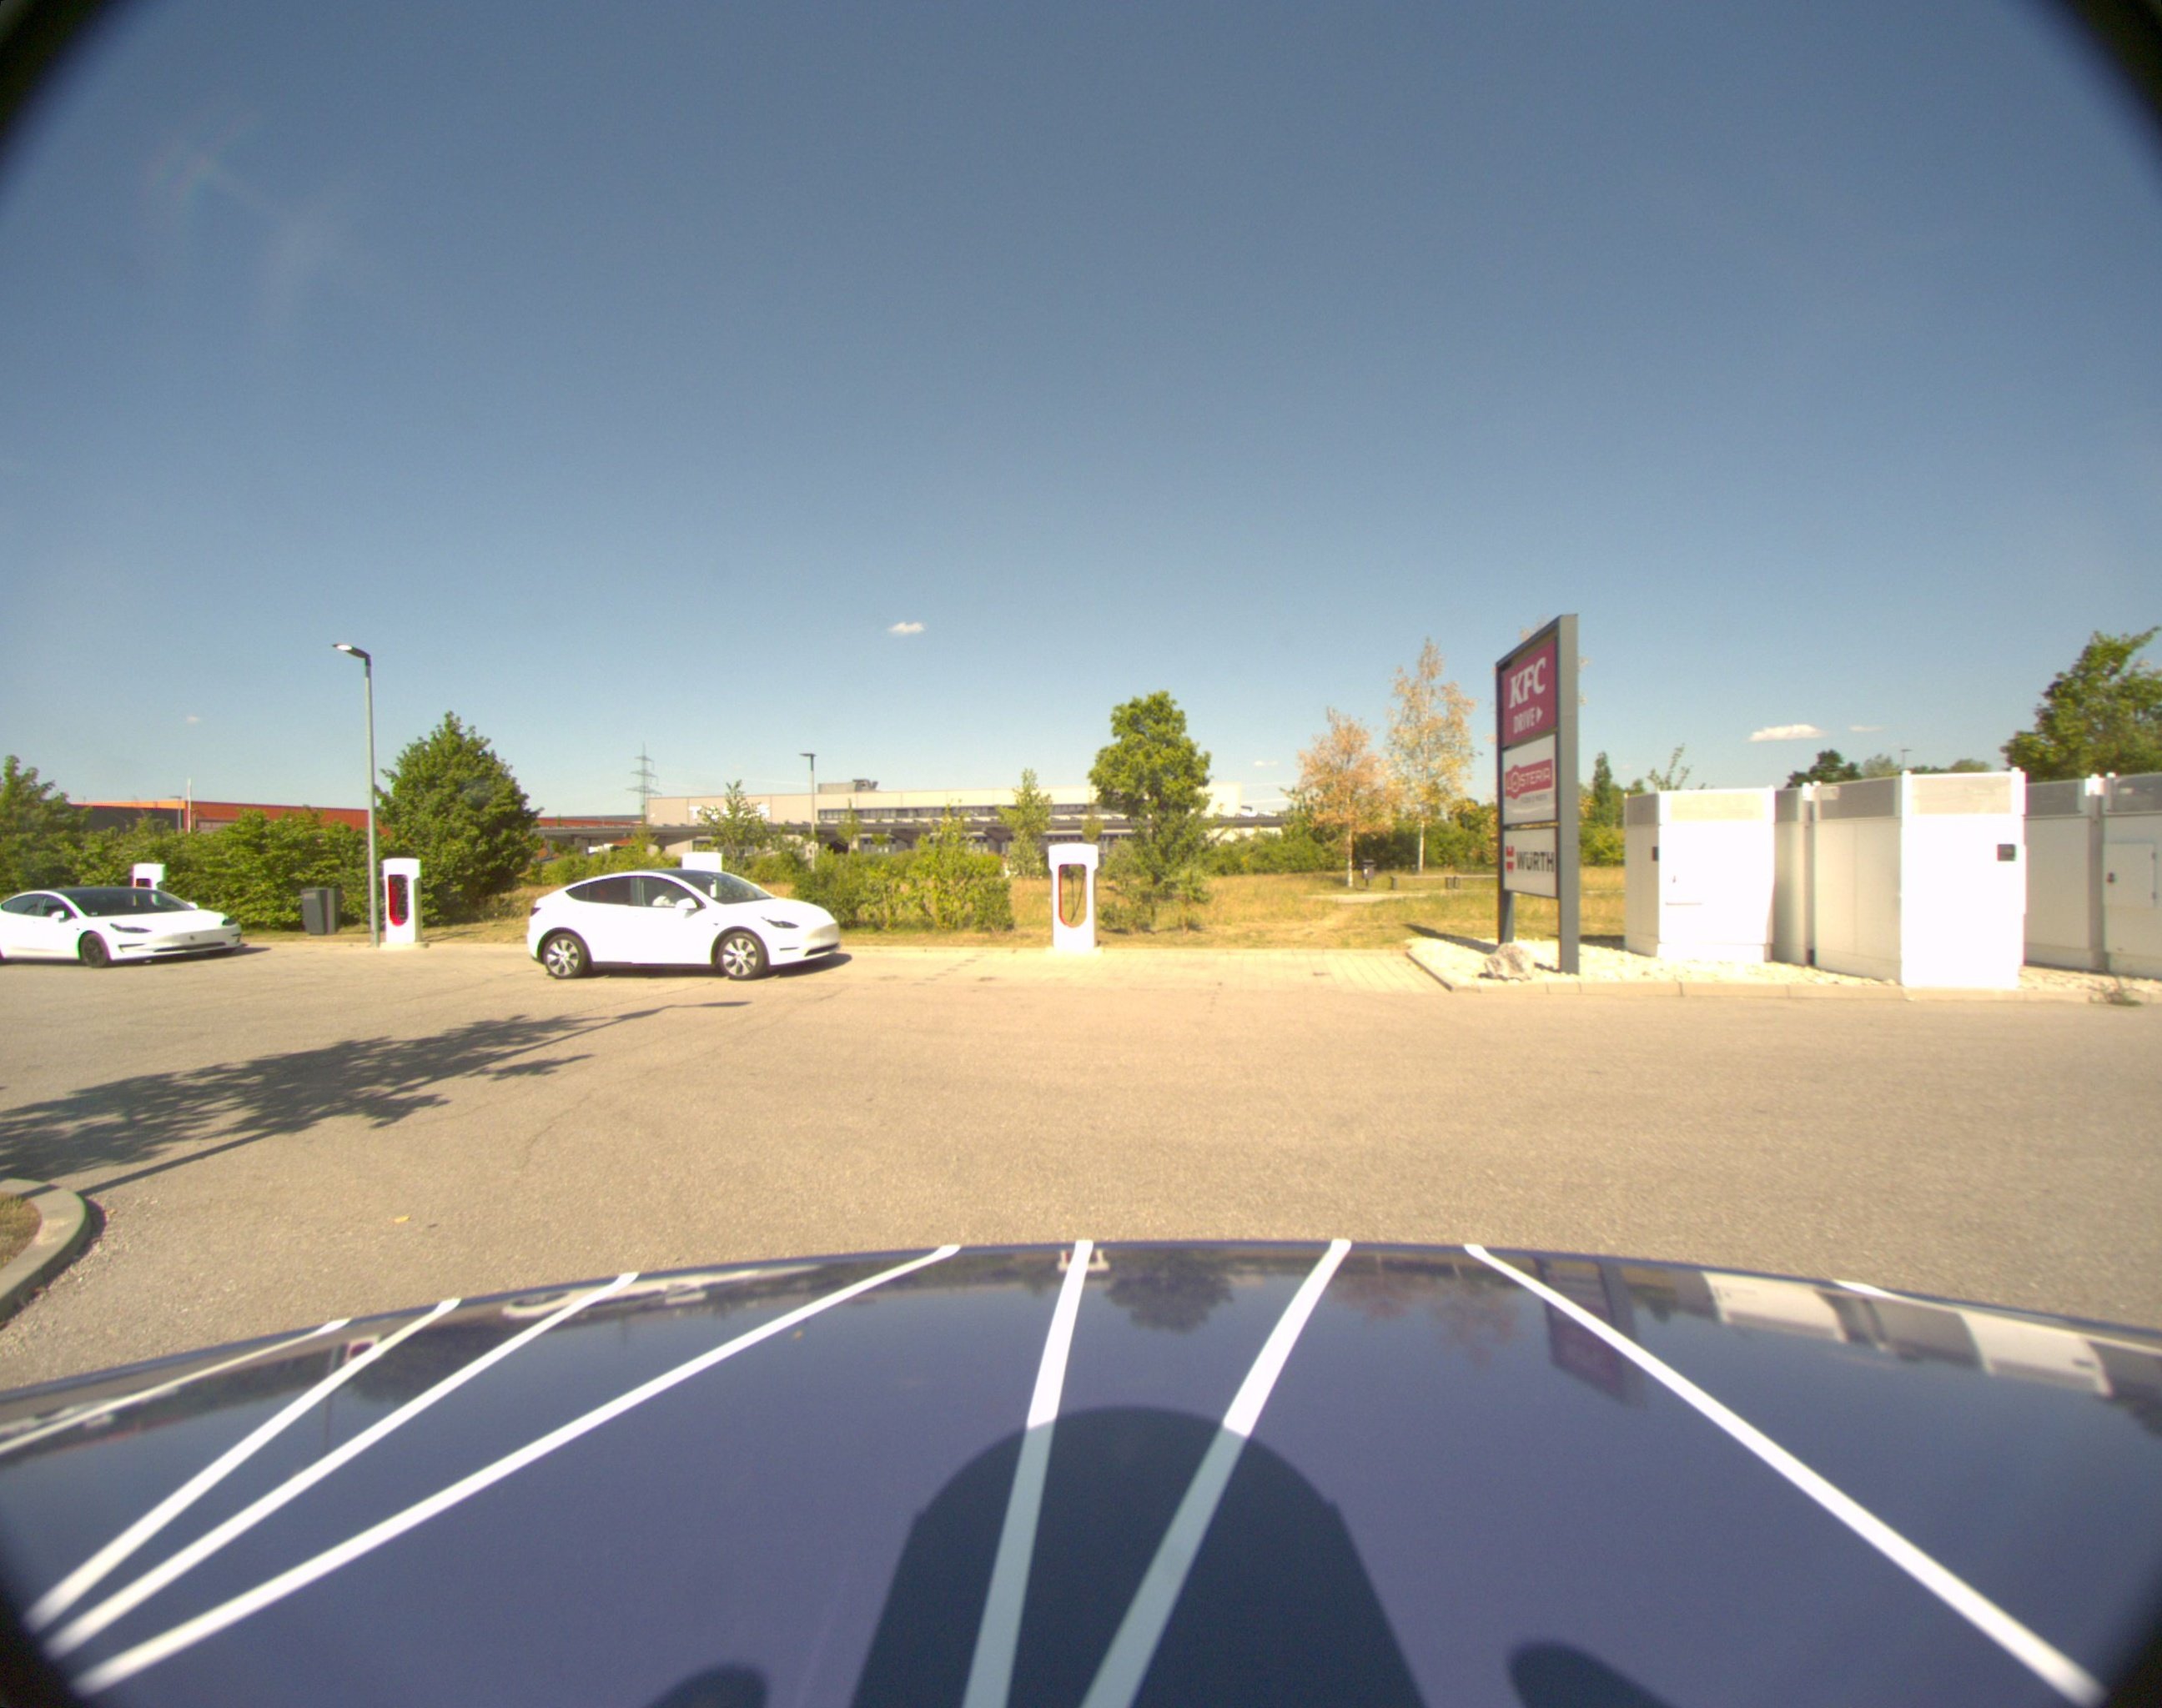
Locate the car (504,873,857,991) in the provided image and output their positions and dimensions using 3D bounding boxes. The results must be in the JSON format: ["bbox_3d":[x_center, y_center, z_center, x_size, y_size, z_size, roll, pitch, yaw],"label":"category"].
[{"bbox_3d":[-6.049,1.148,11.739,4.570,1.584,1.843,-1,1,8],"label":"car"}]

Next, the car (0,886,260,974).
[{"bbox_3d":[-18.735,1.422,14.748,4.325,1.470,1.844,-1,1,13],"label":"car"}]

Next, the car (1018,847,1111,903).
[{"bbox_3d":[-0.473,0.680,26.415,1.915,1.740,4.262,-2,0,17],"label":"car"}]
